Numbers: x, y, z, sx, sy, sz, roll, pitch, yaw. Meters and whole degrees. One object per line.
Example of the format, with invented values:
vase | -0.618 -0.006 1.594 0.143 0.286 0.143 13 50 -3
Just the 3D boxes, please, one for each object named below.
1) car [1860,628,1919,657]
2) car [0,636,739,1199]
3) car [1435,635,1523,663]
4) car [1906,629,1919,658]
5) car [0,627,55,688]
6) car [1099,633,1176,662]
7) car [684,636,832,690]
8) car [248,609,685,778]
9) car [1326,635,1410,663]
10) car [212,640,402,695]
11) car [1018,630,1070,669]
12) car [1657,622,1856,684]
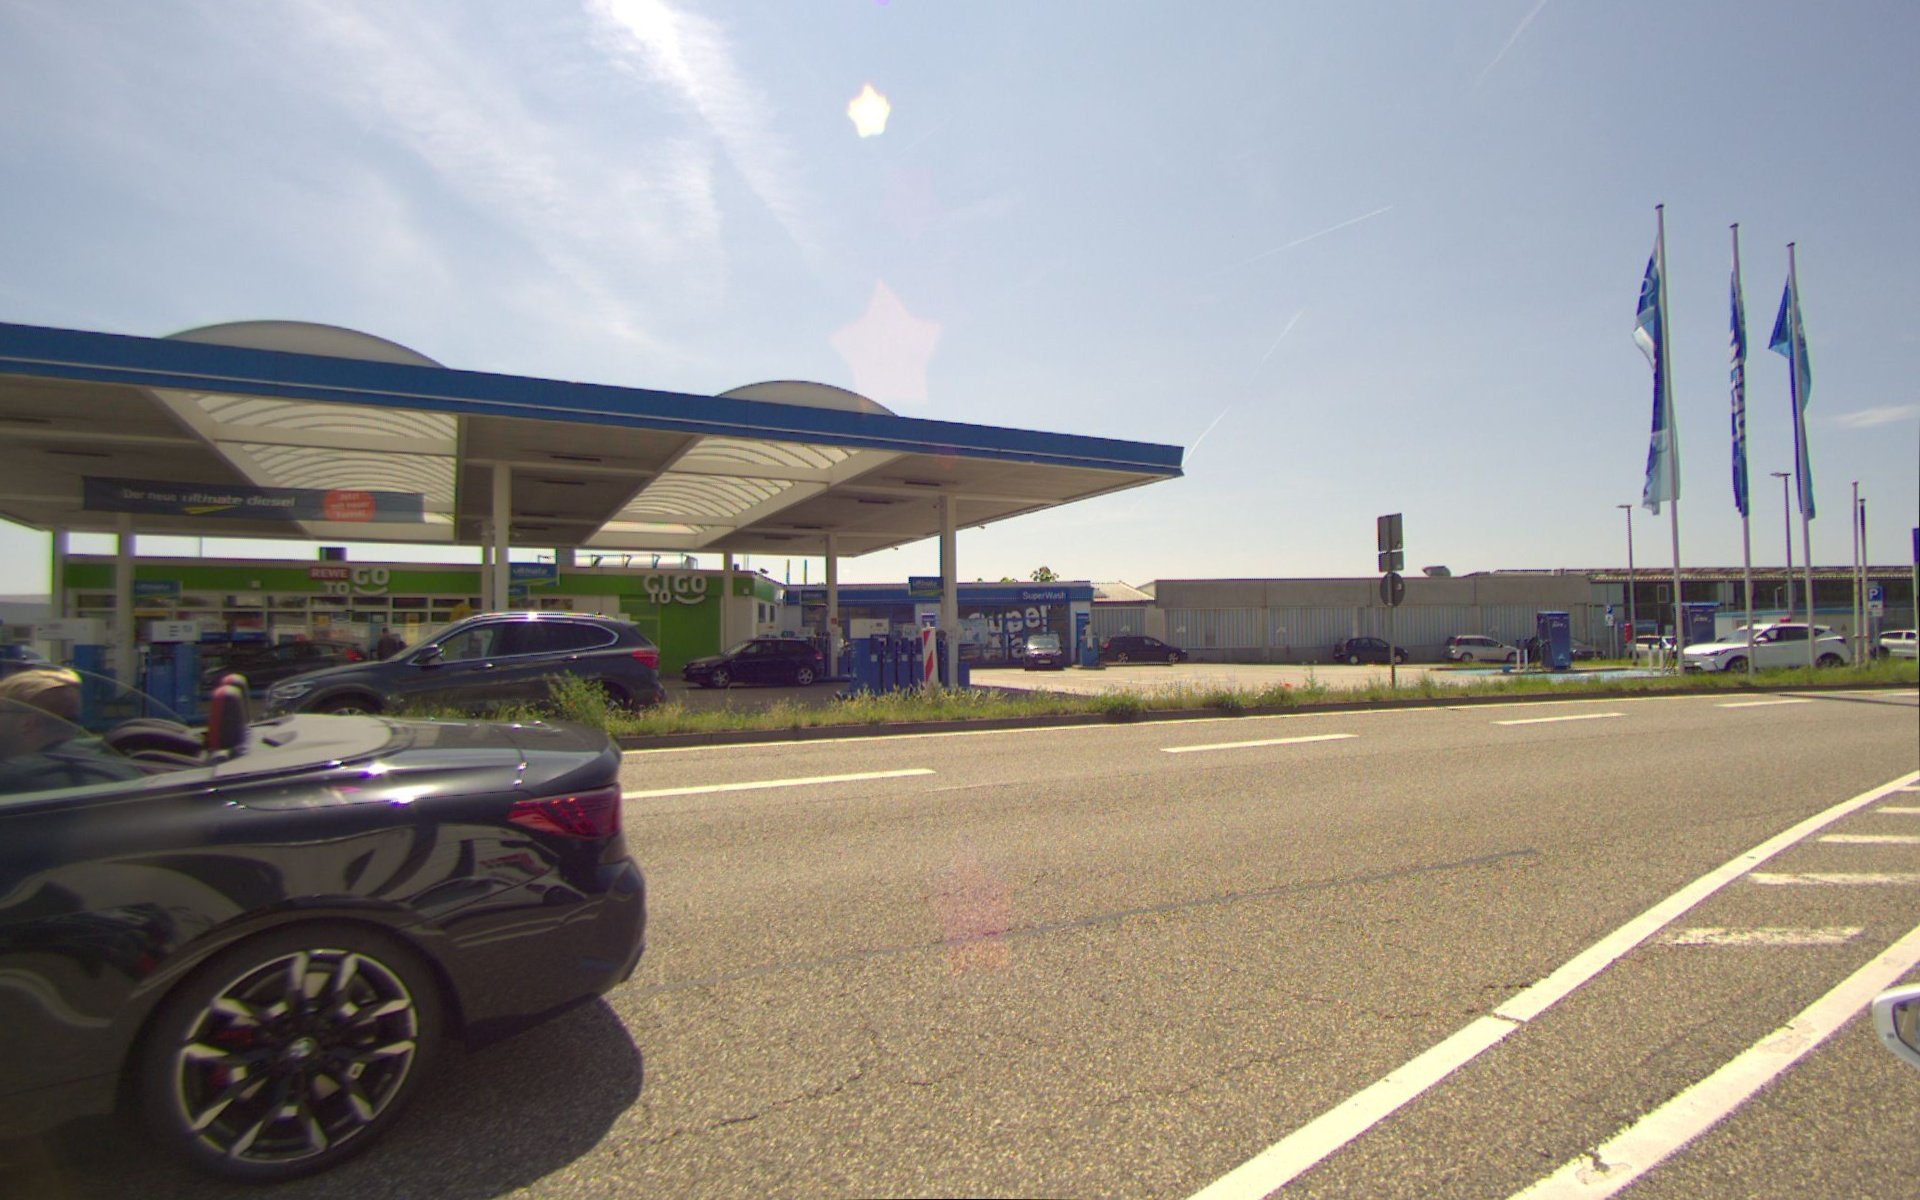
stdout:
car | 50.436 2.228 52.762 1.961 1.523 4.593 0 -3 -3
car | -2.923 0.772 2.768 4.134 1.288 1.836 2 -1 -35
car | 27.856 2.624 54.019 3.822 1.461 1.761 0 -2 3
car | 52.609 2.264 52.680 1.961 1.523 4.136 0 -3 -3
car | -27.983 1.631 28.938 1.925 1.661 3.970 1 -2 -29
car | 9.350 2.512 53.166 3.822 1.461 1.760 0 -2 2
car | -5.958 1.823 29.709 4.054 1.497 1.596 1 -2 -27
car | -5.867 1.018 12.320 4.517 1.741 1.819 1 -2 -32
car | 21.856 2.642 53.886 3.822 1.461 1.760 0 -2 2
car | -18.210 1.849 28.265 4.332 1.396 1.984 1 -2 -31
car | 3.646 2.161 44.074 1.908 1.628 4.000 0 -2 -1
car | 23.820 1.571 30.183 4.428 1.735 1.870 1 -1 3
